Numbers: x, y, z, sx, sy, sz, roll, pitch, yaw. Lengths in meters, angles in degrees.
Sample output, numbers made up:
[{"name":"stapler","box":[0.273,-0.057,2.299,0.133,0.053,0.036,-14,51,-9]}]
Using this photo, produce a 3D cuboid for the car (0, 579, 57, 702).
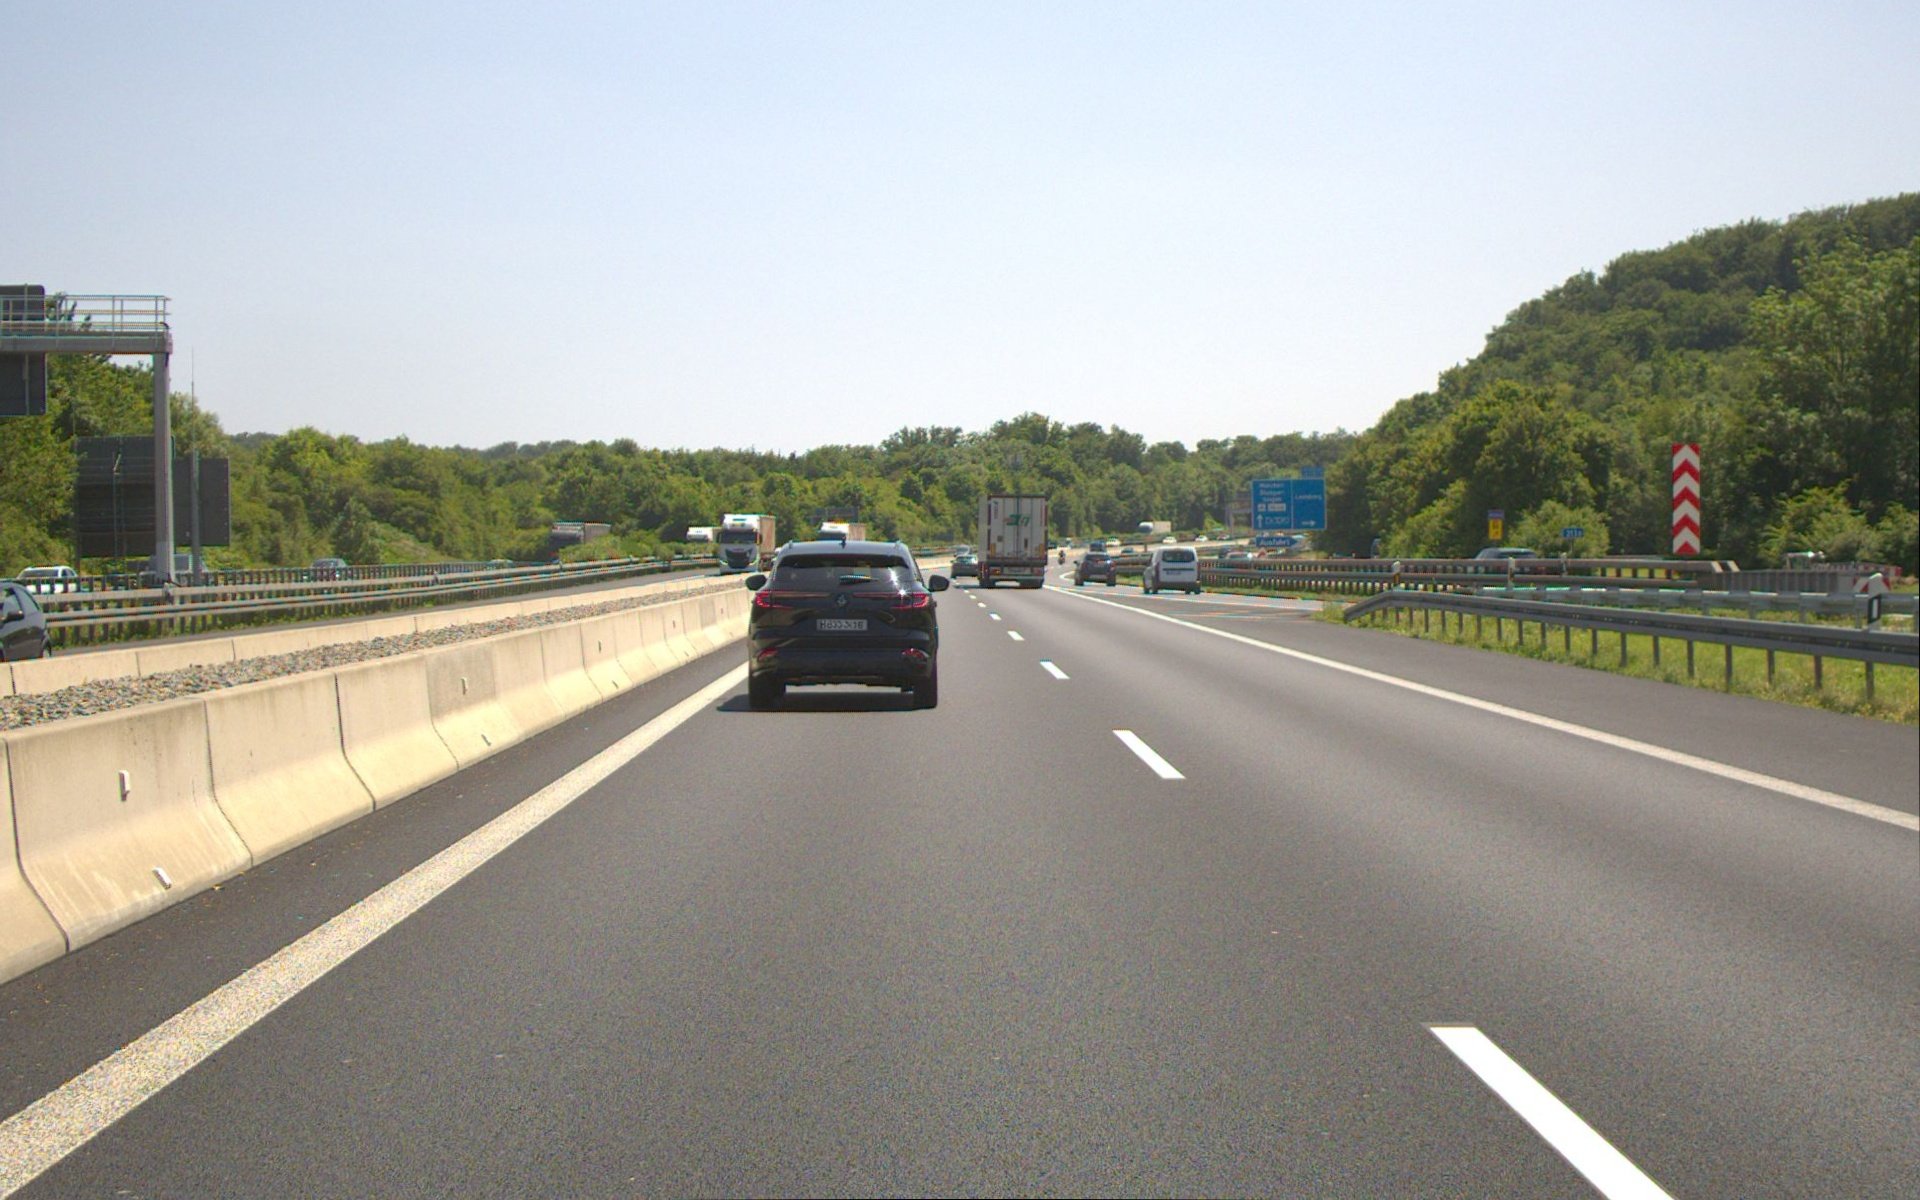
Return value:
[{"name":"car","box":[-13.090,0.496,44.668,1.833,1.529,4.160,1,0,-4]}]

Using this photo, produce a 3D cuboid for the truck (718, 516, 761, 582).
[{"name":"truck","box":[-14.599,-3.342,227.338,2.705,4.273,4.554,1,0,-5]}]

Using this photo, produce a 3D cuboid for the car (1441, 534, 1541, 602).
[{"name":"car","box":[16.574,-1.017,107.453,1.993,2.007,4.001,-2,1,-7]}]

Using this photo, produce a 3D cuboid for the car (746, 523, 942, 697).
[{"name":"car","box":[-1.183,0.077,33.973,1.779,1.572,4.000,1,0,-3]}]

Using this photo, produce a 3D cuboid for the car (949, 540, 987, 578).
[{"name":"car","box":[0.457,-2.465,205.146,2.138,2.209,5.088,1,0,-1]}]

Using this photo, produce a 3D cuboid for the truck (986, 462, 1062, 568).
[{"name":"truck","box":[2.883,-3.637,151.068,3.032,4.403,12.018,1,0,2]}]

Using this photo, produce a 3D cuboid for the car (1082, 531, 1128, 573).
[{"name":"car","box":[7.017,-2.305,166.506,1.993,2.007,4.000,1,0,0]}]

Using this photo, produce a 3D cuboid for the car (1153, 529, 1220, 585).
[{"name":"car","box":[8.568,-1.639,130.318,1.993,2.007,4.001,-2,1,-3]}]
